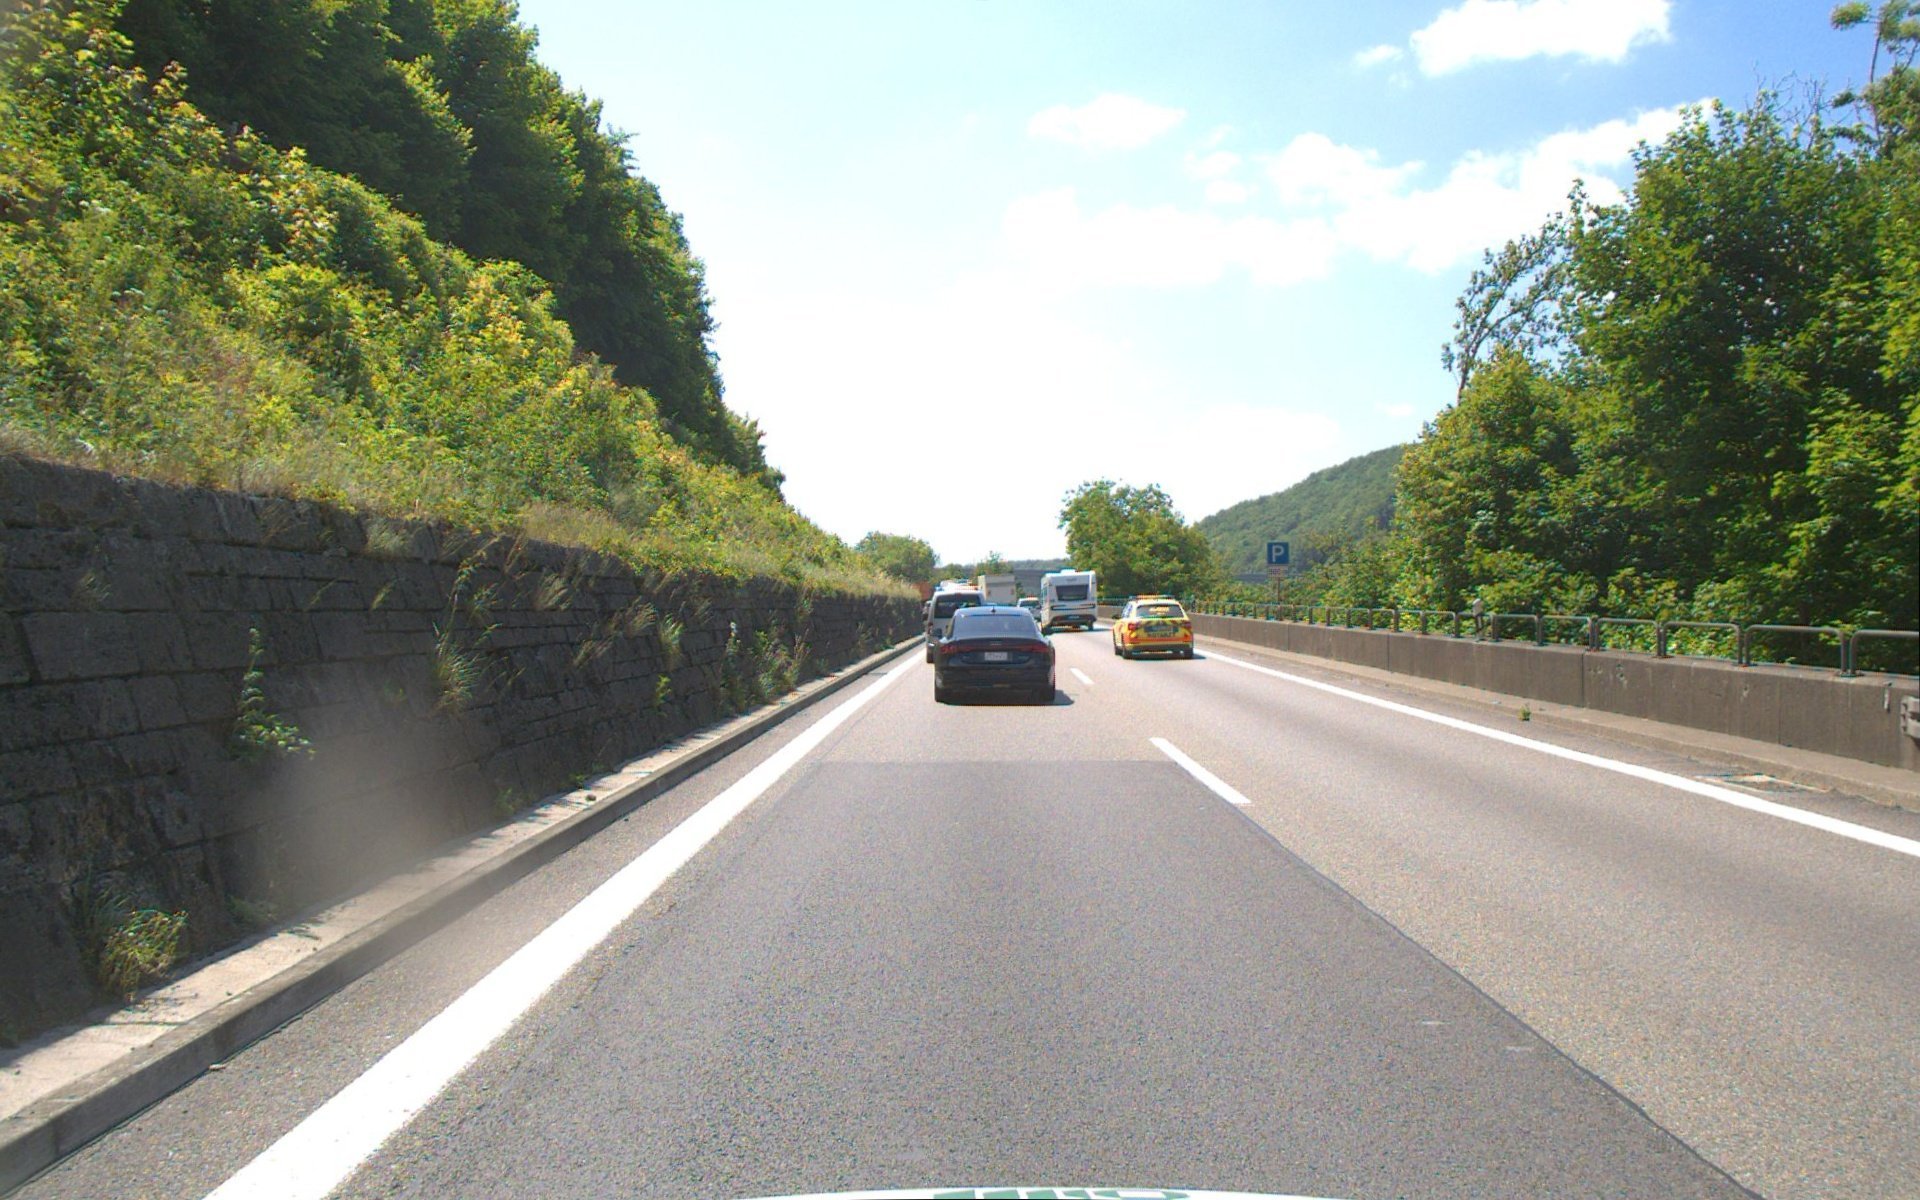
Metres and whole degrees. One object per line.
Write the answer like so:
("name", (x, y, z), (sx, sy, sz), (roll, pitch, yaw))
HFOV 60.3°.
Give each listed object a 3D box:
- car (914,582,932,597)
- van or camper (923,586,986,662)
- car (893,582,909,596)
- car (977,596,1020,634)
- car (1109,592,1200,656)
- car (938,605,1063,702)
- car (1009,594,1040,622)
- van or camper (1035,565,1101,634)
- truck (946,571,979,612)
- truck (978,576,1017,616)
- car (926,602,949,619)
("car", (-5.023, -1.391, 221.474), (1.956, 2.049, 3.993), (1, 0, -8))
("van or camper", (-0.185, 0.636, 43.173), (1.364, 1.848, 3.997), (1, -1, -4))
("car", (-8.864, -1.663, 248.075), (1.956, 2.049, 3.993), (1, 0, -8))
("car", (1.735, 0.663, 76.098), (1.738, 1.665, 3.998), (0, 0, -2))
("car", (4.937, 0.626, 42.454), (1.825, 1.514, 3.999), (1, -1, 0))
("car", (0.576, 0.823, 26.230), (1.800, 1.373, 3.999), (1, -1, -1))
("car", (4.186, 0.524, 107.717), (1.803, 1.747, 3.999), (1, -1, 0))
("van or camper", (4.928, 0.045, 76.304), (2.406, 2.969, 6.123), (1, -1, -2))
("truck", (0.215, -0.858, 169.852), (2.680, 4.168, 7.470), (0, 0, -6))
("truck", (3.079, -0.313, 137.695), (2.783, 3.186, 7.477), (0, 0, -2))
("car", (-2.012, 0.979, 150.079), (1.953, 1.489, 3.998), (1, 0, -3))
